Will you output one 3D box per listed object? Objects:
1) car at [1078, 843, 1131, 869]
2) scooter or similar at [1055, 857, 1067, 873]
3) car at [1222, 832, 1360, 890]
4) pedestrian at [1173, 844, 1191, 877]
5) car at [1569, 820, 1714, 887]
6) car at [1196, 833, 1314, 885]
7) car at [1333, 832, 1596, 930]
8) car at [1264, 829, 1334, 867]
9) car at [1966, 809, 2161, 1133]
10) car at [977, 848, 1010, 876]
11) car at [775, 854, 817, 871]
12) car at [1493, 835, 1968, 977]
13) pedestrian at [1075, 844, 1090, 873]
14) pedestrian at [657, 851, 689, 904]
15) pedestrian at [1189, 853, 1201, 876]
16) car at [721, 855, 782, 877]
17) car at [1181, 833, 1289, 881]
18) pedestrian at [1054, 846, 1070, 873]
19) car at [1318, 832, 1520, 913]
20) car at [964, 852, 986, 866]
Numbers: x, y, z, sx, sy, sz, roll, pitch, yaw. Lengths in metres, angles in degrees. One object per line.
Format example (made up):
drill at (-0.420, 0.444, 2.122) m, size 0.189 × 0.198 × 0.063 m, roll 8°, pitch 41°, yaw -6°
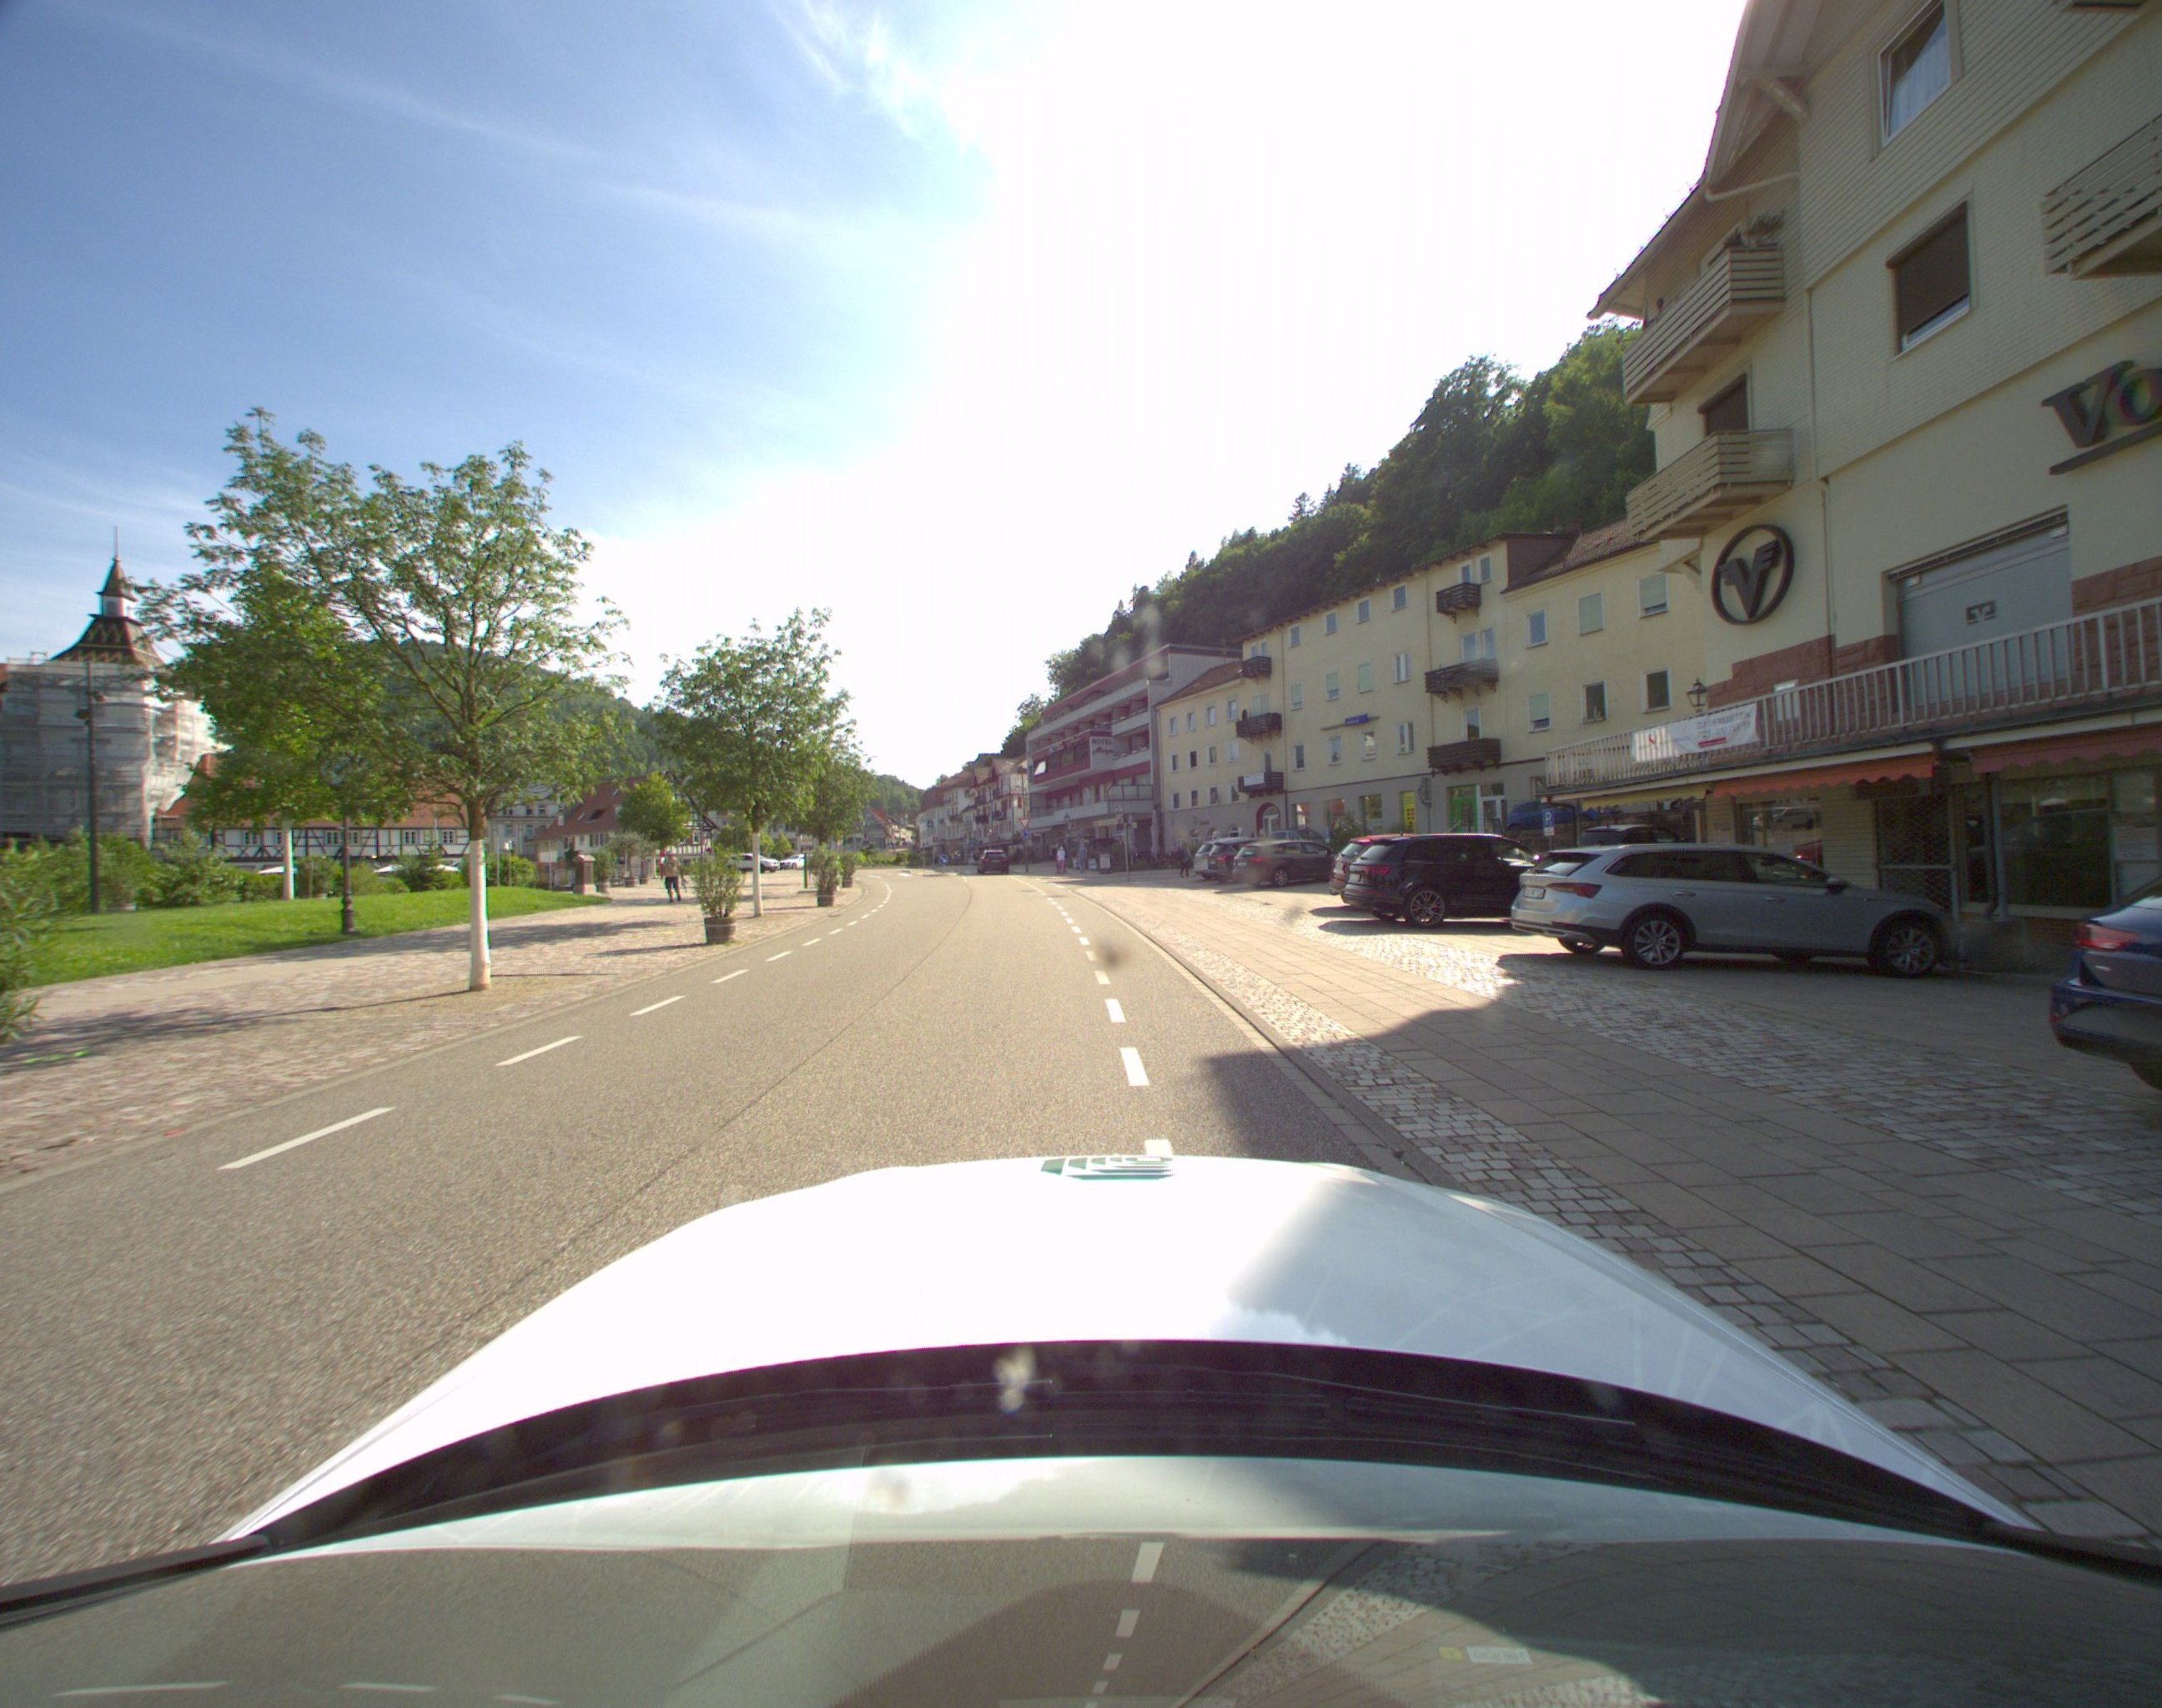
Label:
car at (1.538, 0.131, 53.969) m, size 3.171 × 1.663 × 1.585 m, roll -2°, pitch 0°, yaw -17°
scooter or similar at (-1.224, 0.642, 49.456) m, size 0.598 × 0.950 × 0.471 m, roll -2°, pitch 0°, yaw -20°
car at (6.937, 0.205, 26.947) m, size 4.020 × 1.516 × 1.762 m, roll -5°, pitch 2°, yaw -17°
pedestrian at (4.571, 0.280, 36.901) m, size 0.731 × 1.442 × 0.634 m, roll -4°, pitch 0°, yaw 5°
car at (15.488, -0.066, 22.462) m, size 3.934 × 1.609 × 1.756 m, roll -3°, pitch 1°, yaw -30°
car at (6.493, 0.159, 30.404) m, size 3.871 × 1.549 × 1.762 m, roll -5°, pitch 2°, yaw -17°
car at (6.970, 0.462, 15.136) m, size 4.066 × 1.666 × 1.774 m, roll 1°, pitch 0°, yaw 3°
car at (12.359, -0.361, 46.311) m, size 1.868 × 2.013 × 3.645 m, roll -1°, pitch 1°, yaw -27°
car at (6.827, 0.557, 3.570) m, size 3.892 × 1.461 × 1.738 m, roll 1°, pitch 0°, yaw 3°
car at (-5.668, 0.483, 52.487) m, size 1.728 × 1.574 × 3.738 m, roll -2°, pitch 2°, yaw -12°
car at (-27.343, 0.801, 78.272) m, size 1.671 × 1.420 × 4.201 m, roll -2°, pitch 0°, yaw 17°
car at (7.701, 0.589, 10.048) m, size 4.335 × 1.461 × 1.775 m, roll 1°, pitch -1°, yaw 5°
pedestrian at (0.089, 0.271, 48.976) m, size 0.671 × 1.728 × 0.703 m, roll -2°, pitch 0°, yaw -19°
pedestrian at (-14.347, 0.800, 28.660) m, size 0.869 × 1.815 × 0.687 m, roll -2°, pitch 0°, yaw -18°
pedestrian at (5.131, 0.461, 36.672) m, size 0.414 × 1.002 × 0.533 m, roll -4°, pitch 0°, yaw 15°
car at (-26.237, 0.943, 64.854) m, size 4.147 × 1.616 × 1.693 m, roll -2°, pitch 0°, yaw 6°
car at (6.270, 0.098, 33.224) m, size 3.871 × 1.612 × 1.762 m, roll -5°, pitch 2°, yaw -17°
pedestrian at (-1.167, 0.347, 49.289) m, size 0.759 × 1.594 × 0.624 m, roll -2°, pitch 0°, yaw -19°
car at (7.585, 0.375, 18.589) m, size 3.892 × 1.700 × 1.774 m, roll 1°, pitch 1°, yaw 3°
car at (-12.823, 0.617, 98.042) m, size 1.682 × 1.620 × 3.972 m, roll -1°, pitch 0°, yaw -21°
